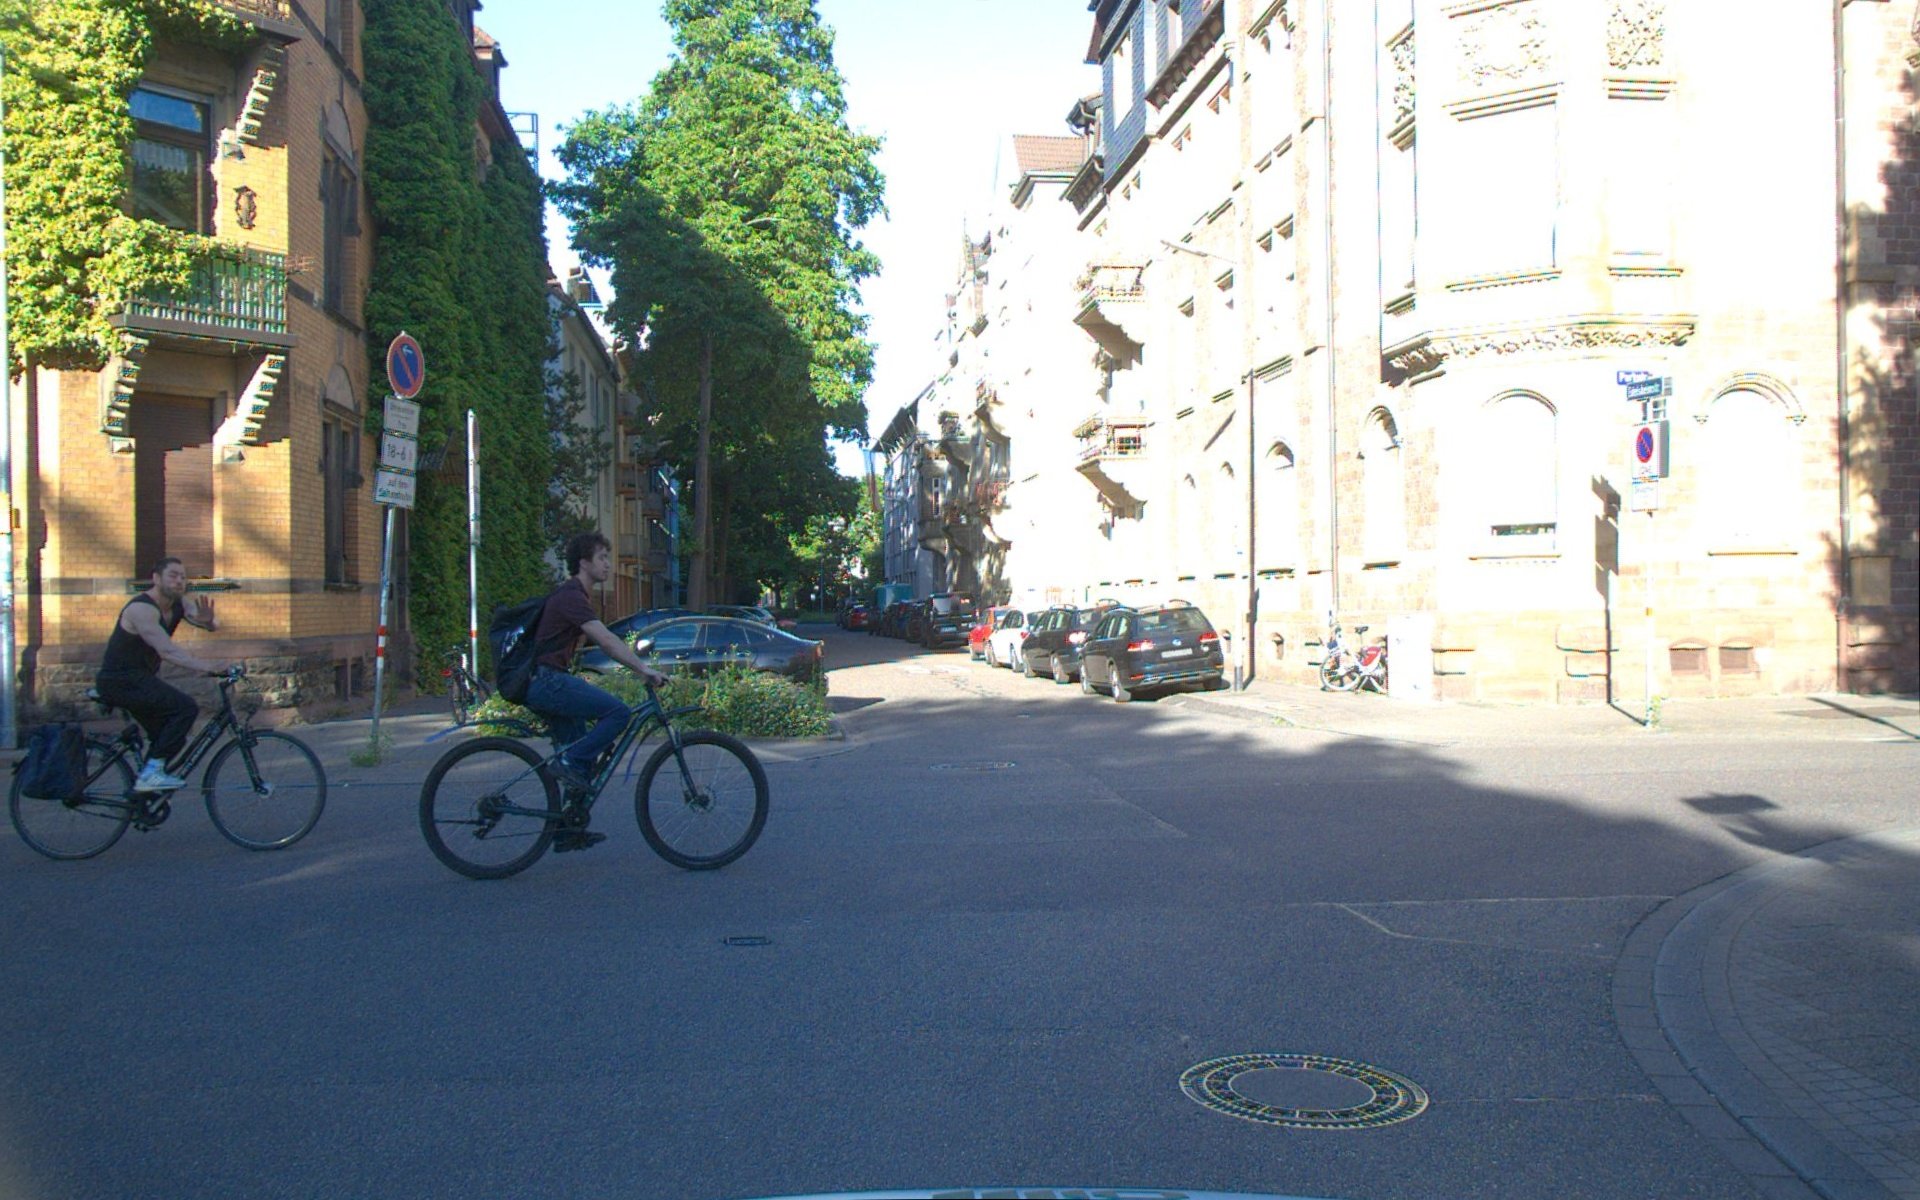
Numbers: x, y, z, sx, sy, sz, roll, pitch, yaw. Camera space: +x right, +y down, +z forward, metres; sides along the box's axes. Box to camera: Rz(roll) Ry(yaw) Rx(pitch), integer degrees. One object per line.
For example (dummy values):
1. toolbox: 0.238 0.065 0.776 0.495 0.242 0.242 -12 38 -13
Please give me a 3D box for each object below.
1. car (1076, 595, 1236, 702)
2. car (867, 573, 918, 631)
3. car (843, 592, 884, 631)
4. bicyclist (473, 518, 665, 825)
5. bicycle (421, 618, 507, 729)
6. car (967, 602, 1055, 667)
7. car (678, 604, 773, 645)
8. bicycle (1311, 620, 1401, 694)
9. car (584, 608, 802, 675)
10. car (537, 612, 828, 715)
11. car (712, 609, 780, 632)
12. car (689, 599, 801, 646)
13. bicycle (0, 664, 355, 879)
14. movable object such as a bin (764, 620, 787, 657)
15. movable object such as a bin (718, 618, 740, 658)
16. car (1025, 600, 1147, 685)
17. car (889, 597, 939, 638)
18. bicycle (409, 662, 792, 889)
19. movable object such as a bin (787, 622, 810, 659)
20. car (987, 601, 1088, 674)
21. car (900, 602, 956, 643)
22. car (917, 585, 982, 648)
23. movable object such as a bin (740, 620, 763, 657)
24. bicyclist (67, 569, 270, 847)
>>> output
1. car: 3.122 0.746 27.118 1.705 1.609 3.993 0 0 -7
2. car: -3.336 0.094 80.866 2.125 2.738 4.783 0 0 -7
3. car: -5.730 0.682 97.811 2.125 2.276 4.783 0 0 -7
4. bicyclist: -2.061 0.365 8.834 0.951 1.553 0.719 0 -1 -10
5. bicycle: -6.165 0.890 20.622 0.551 1.290 1.603 -2 0 0
6. car: 1.273 0.875 43.212 1.705 1.609 3.993 0 0 -7
7. car: -9.406 0.986 66.325 3.731 1.603 1.706 0 0 -10
8. bicycle: 5.690 0.800 23.858 0.506 1.015 1.567 0 0 -19
9. car: -5.989 0.921 37.368 4.745 1.460 1.706 0 0 -9
10. car: -4.151 0.922 25.034 4.165 1.460 1.996 0 0 -9
11. car: -11.950 1.132 92.298 3.731 1.262 1.706 0 0 -10
12. car: -7.373 0.757 56.567 3.733 1.603 1.705 0 0 -11
13. bicycle: -4.671 0.983 9.822 1.930 1.091 0.695 -2 0 -15
14. movable object such as a bin: -5.439 1.125 48.633 0.618 1.071 0.566 0 -1 -13
15. movable object such as a bin: -6.754 1.106 48.353 0.588 1.173 0.485 0 -1 -13
16. car: 2.469 0.816 33.345 1.705 1.609 3.993 0 0 -7
17. car: -1.996 0.747 70.742 1.768 1.708 3.993 0 0 -7
18. bicycle: -1.878 0.903 8.803 1.927 1.091 0.556 0 2 -11
19. movable object such as a bin: -4.757 1.189 48.752 0.618 1.071 0.566 0 -1 -13
20. car: 1.763 0.848 38.702 1.705 1.609 3.993 0 0 -7
21. car: -1.285 0.866 63.977 1.768 1.541 3.993 0 0 -7
22. car: -0.390 0.534 55.736 1.768 2.039 3.993 0 0 -7
23. movable object such as a bin: -6.110 1.111 48.445 0.618 1.071 0.566 0 -1 -13
24. bicyclist: -4.622 0.603 9.722 0.953 1.553 0.705 0 -1 -16
